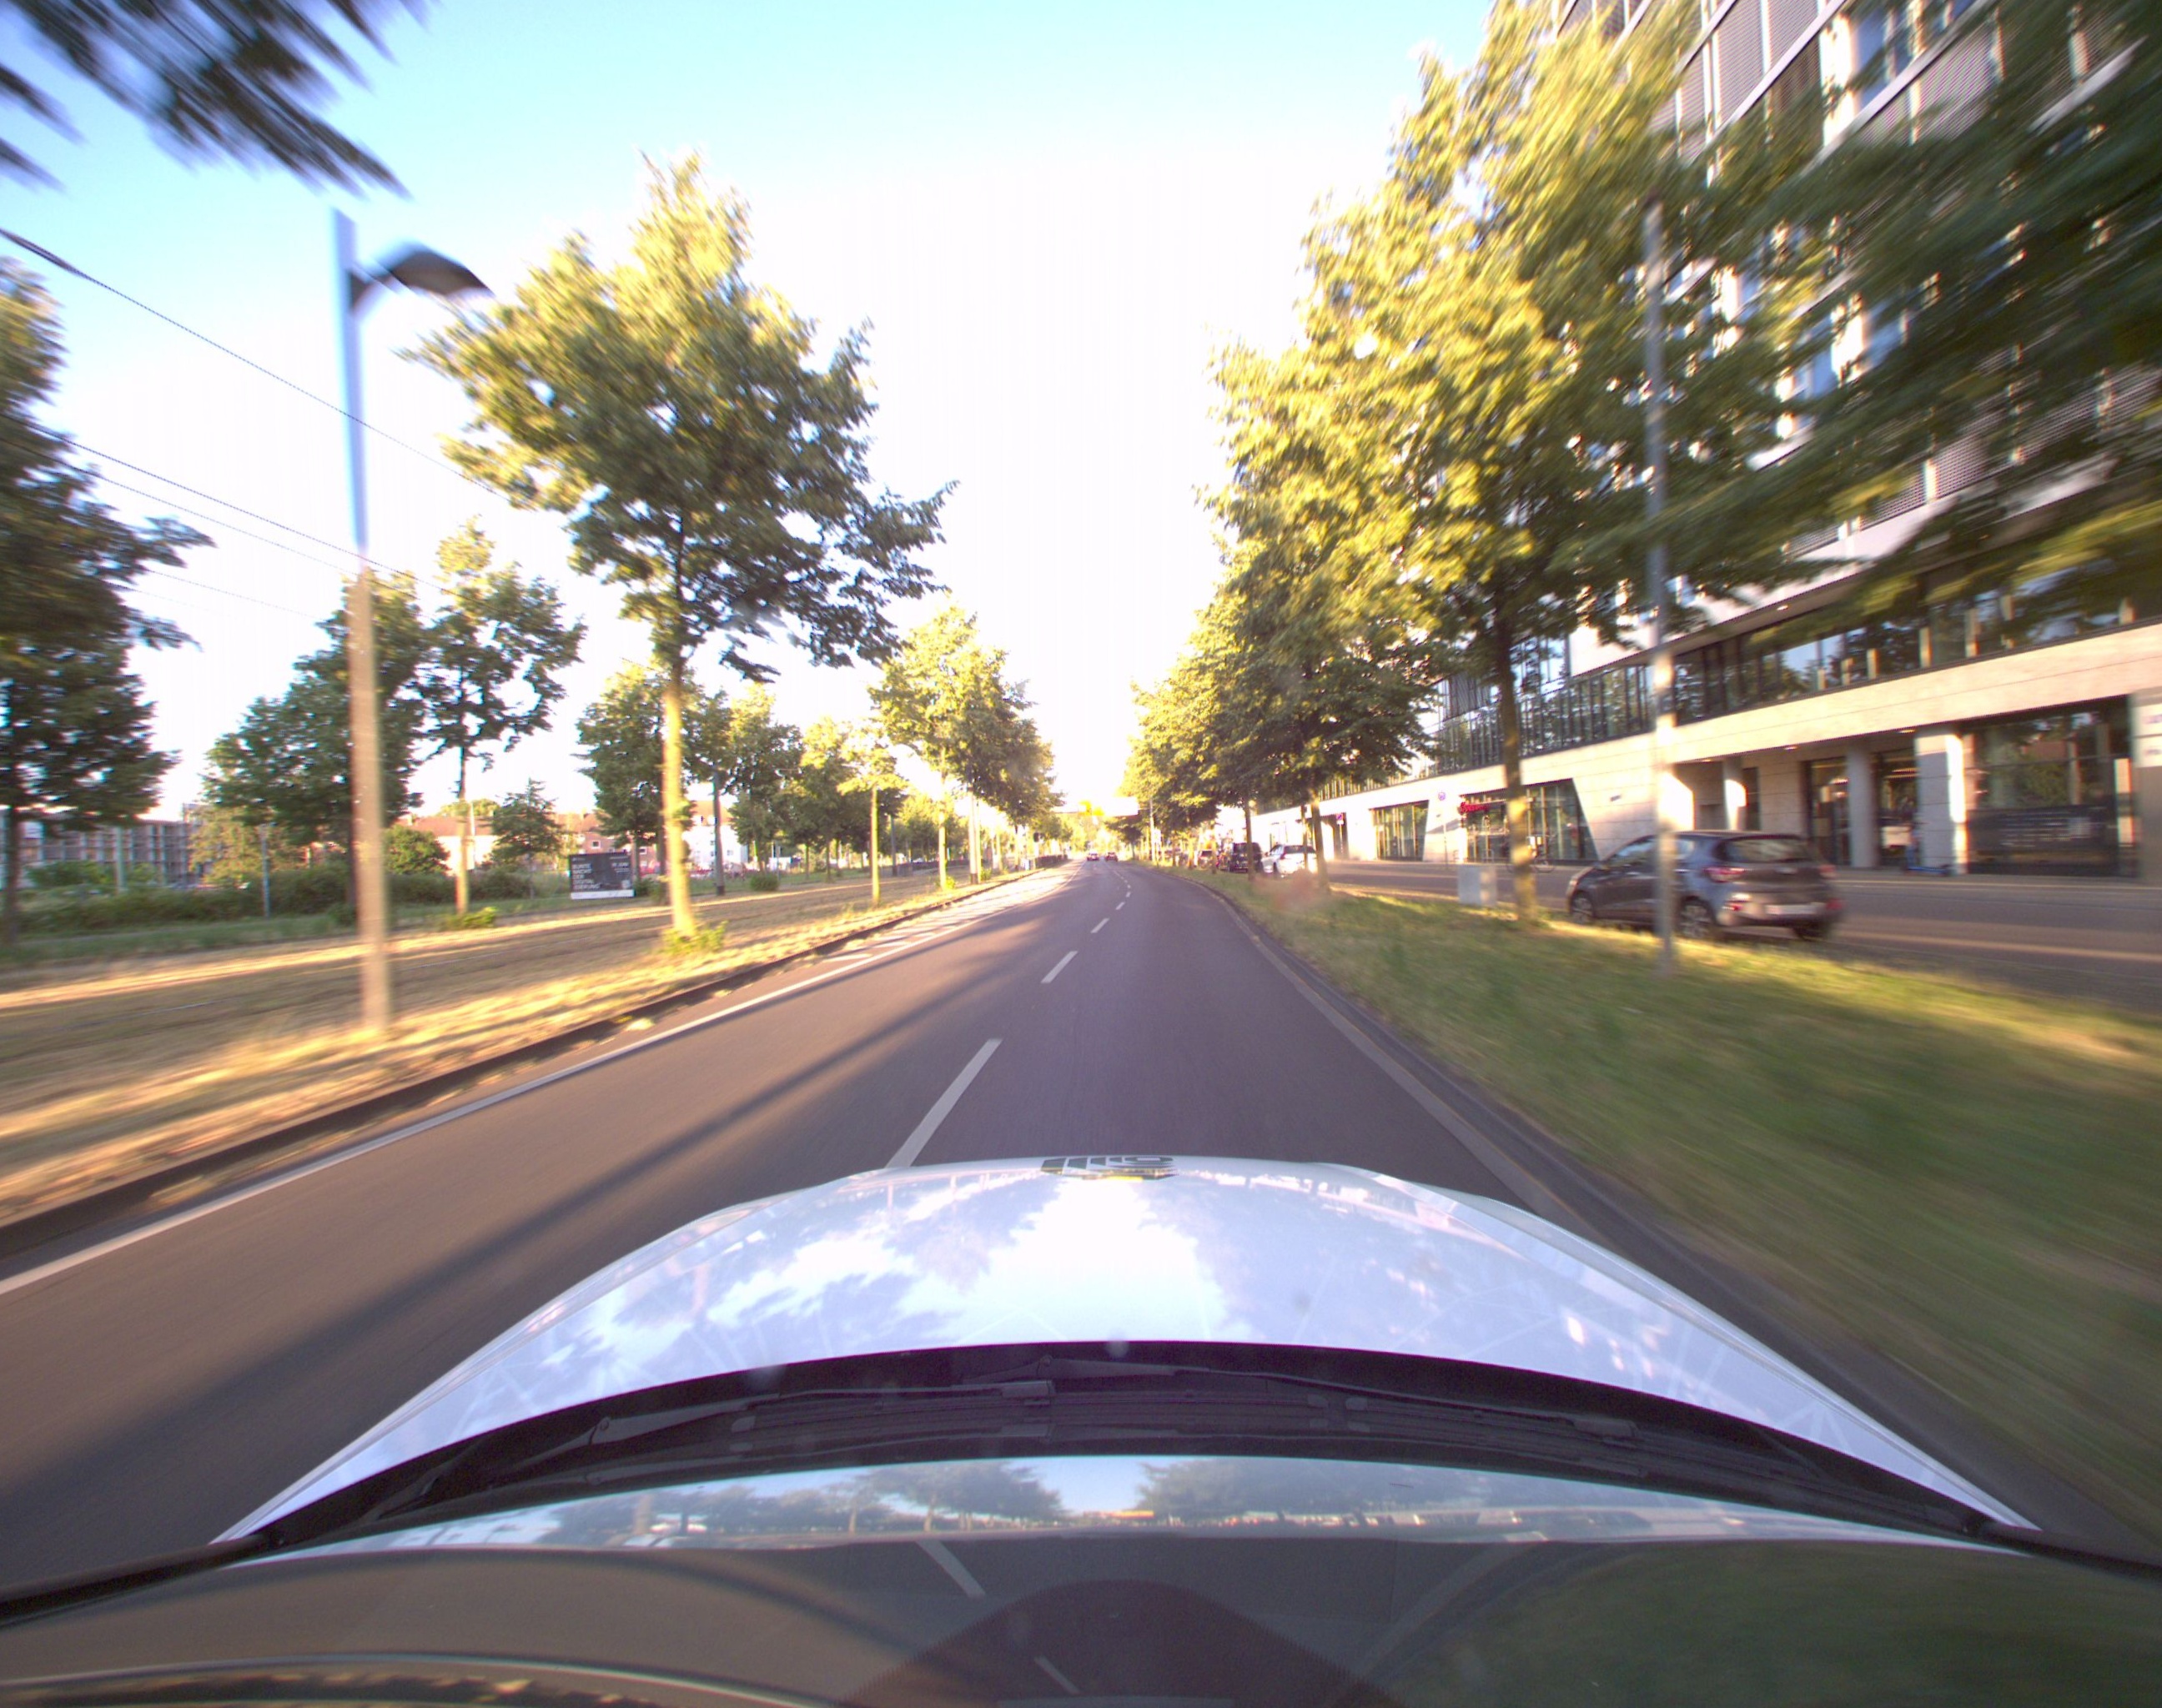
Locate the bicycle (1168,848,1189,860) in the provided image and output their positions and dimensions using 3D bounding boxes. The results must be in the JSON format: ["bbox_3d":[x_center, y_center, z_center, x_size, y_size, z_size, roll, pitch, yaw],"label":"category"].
[{"bbox_3d":[9.192,0.016,76.722,1.940,1.054,0.413,1,0,-7],"label":"bicycle"}]

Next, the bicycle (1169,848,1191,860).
[{"bbox_3d":[9.231,0.025,76.003,1.940,1.054,0.413,1,0,-7],"label":"bicycle"}]

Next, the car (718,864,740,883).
[{"bbox_3d":[-44.877,2.476,103.983,2.426,2.224,5.872,-2,0,-23],"label":"car"}]

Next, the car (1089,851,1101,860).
[{"bbox_3d":[2.346,0.271,139.133,1.906,1.486,3.999,-2,0,0],"label":"car"}]

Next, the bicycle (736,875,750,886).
[{"bbox_3d":[-34.650,2.743,83.530,0.617,1.011,2.082,-3,0,-1],"label":"bicycle"}]

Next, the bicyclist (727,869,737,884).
[{"bbox_3d":[-35.620,2.287,83.116,0.617,1.456,0.937,-3,0,-1],"label":"bicyclist"}]

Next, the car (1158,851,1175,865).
[{"bbox_3d":[9.940,0.481,94.769,1.569,1.472,3.882,-2,0,1],"label":"car"}]

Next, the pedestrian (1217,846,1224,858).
[{"bbox_3d":[20.086,-0.317,116.973,0.636,1.718,0.695,-2,0,-19],"label":"pedestrian"}]

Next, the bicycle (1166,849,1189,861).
[{"bbox_3d":[8.705,0.110,73.294,1.942,1.054,0.543,1,0,-11],"label":"bicycle"}]

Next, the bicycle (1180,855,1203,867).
[{"bbox_3d":[9.636,0.620,70.823,1.935,1.054,0.545,1,0,0],"label":"bicycle"}]

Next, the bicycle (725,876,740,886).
[{"bbox_3d":[-35.601,2.749,83.116,0.617,1.011,2.082,-3,0,-1],"label":"bicycle"}]

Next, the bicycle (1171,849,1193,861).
[{"bbox_3d":[9.296,0.059,75.040,1.940,1.054,0.407,1,0,-7],"label":"bicycle"}]

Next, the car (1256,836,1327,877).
[{"bbox_3d":[9.347,0.105,36.619,1.986,1.642,4.880,-3,0,1],"label":"car"}]

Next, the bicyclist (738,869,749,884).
[{"bbox_3d":[-34.676,2.334,83.677,0.617,1.456,0.937,-3,0,-1],"label":"bicyclist"}]

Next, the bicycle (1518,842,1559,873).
[{"bbox_3d":[16.495,0.124,29.427,0.468,1.039,1.807,-3,0,2],"label":"bicycle"}]

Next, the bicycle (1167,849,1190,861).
[{"bbox_3d":[8.867,0.064,73.935,1.940,1.054,0.544,1,0,-7],"label":"bicycle"}]

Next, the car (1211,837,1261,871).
[{"bbox_3d":[9.215,0.011,48.852,1.988,1.852,4.663,-3,0,-1],"label":"car"}]

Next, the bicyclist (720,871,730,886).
[{"bbox_3d":[-35.413,2.431,81.011,0.617,1.421,0.937,-3,0,-1],"label":"bicyclist"}]

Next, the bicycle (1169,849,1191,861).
[{"bbox_3d":[9.040,0.068,74.560,1.940,1.054,0.407,1,0,-7],"label":"bicycle"}]

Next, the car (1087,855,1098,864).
[{"bbox_3d":[2.047,0.923,145.629,1.906,1.486,3.999,-2,0,0],"label":"car"}]

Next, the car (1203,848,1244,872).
[{"bbox_3d":[9.564,0.396,54.974,1.804,1.471,4.663,-3,0,-1],"label":"car"}]

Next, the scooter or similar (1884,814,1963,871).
[{"bbox_3d":[18.760,-0.258,18.168,0.470,1.211,1.229,-3,0,2],"label":"scooter or similar"}]

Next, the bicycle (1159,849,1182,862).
[{"bbox_3d":[7.881,0.125,71.851,1.944,1.054,0.542,1,0,-15],"label":"bicycle"}]

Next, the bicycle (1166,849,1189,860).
[{"bbox_3d":[9.337,0.037,78.684,2.139,1.054,0.570,1,0,-6],"label":"bicycle"}]

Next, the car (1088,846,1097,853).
[{"bbox_3d":[2.558,-0.984,181.228,1.906,1.486,3.999,-2,0,0],"label":"car"}]

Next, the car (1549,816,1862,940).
[{"bbox_3d":[8.789,0.289,11.931,1.704,1.515,3.758,0,0,0],"label":"car"}]

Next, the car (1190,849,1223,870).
[{"bbox_3d":[9.478,0.392,61.701,1.862,1.411,4.648,-3,0,2],"label":"car"}]

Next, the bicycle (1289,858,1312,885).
[{"bbox_3d":[6.979,0.550,25.910,0.314,0.823,1.553,-3,0,2],"label":"bicycle"}]

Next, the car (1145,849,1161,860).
[{"bbox_3d":[10.266,0.051,116.678,1.752,1.466,4.156,-2,0,-2],"label":"car"}]

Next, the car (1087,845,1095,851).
[{"bbox_3d":[2.466,-1.436,197.064,1.906,1.486,3.999,-2,0,0],"label":"car"}]

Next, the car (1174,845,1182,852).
[{"bbox_3d":[27.580,-1.579,230.587,1.984,1.728,4.005,-3,0,4],"label":"car"}]

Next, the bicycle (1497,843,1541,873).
[{"bbox_3d":[15.936,0.133,29.701,0.592,1.039,1.893,-3,0,2],"label":"bicycle"}]

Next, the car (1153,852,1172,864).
[{"bbox_3d":[10.132,0.513,101.652,1.772,1.472,4.286,-2,0,-1],"label":"car"}]

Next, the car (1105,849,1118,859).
[{"bbox_3d":[4.799,0.053,128.000,1.905,1.486,3.999,-2,0,0],"label":"car"}]
